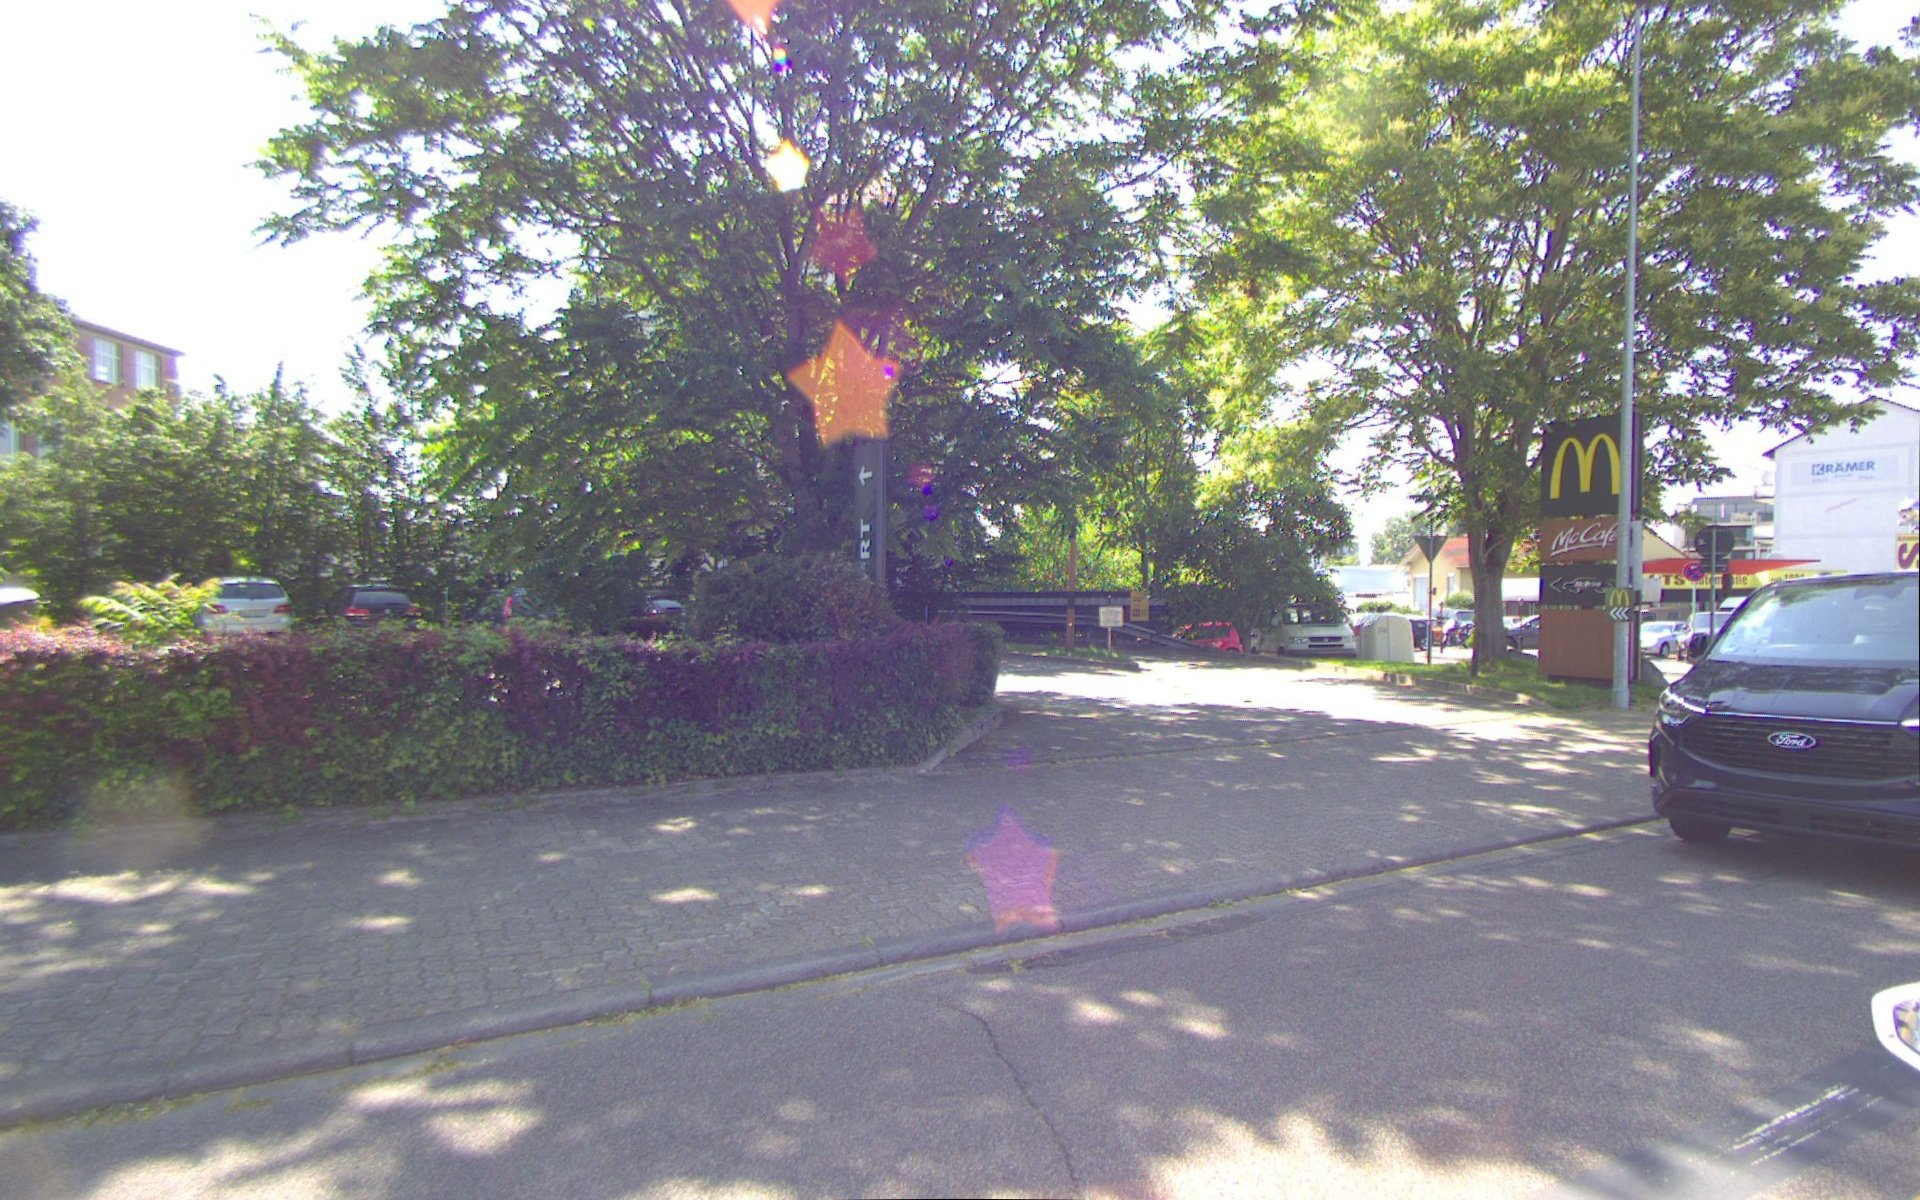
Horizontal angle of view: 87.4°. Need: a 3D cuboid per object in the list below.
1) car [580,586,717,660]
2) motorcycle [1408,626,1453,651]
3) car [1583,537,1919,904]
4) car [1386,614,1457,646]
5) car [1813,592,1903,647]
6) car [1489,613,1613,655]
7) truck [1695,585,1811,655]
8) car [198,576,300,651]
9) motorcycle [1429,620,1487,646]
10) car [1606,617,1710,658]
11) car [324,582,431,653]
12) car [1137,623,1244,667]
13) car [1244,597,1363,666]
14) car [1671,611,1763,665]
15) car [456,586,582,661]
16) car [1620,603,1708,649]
[{"bbox_3d":[-7.467,0.476,23.876,1.649,1.490,3.855,-1,3,-42],"label":"car"},{"bbox_3d":[23.456,1.902,50.108,1.837,1.174,0.790,2,0,6],"label":"motorcycle"},{"bbox_3d":[7.175,0.744,7.467,5.383,1.994,2.165,2,-2,-32],"label":"car"},{"bbox_3d":[25.860,1.660,56.431,1.962,1.606,3.997,2,0,-4],"label":"car"},{"bbox_3d":[40.100,0.869,44.814,4.667,2.315,2.120,1,0,-37],"label":"car"},{"bbox_3d":[25.771,1.457,43.968,4.248,1.606,2.000,2,0,17],"label":"car"},{"bbox_3d":[35.709,0.895,45.181,5.878,2.943,2.256,1,1,-33],"label":"truck"},{"bbox_3d":[-17.147,0.267,24.170,1.759,1.593,3.954,0,2,-39],"label":"car"},{"bbox_3d":[26.021,1.737,52.509,2.672,1.243,0.996,2,0,-14],"label":"motorcycle"},{"bbox_3d":[28.241,1.519,40.632,3.949,1.507,1.781,2,0,-27],"label":"car"},{"bbox_3d":[-14.192,0.351,24.386,1.758,1.490,3.956,-1,3,-38],"label":"car"},{"bbox_3d":[8.033,1.554,35.189,3.350,1.397,1.485,0,2,-5],"label":"car"},{"bbox_3d":[9.330,0.782,27.733,1.918,1.604,5.033,2,1,5],"label":"car"},{"bbox_3d":[25.122,1.212,33.482,2.017,1.616,4.413,2,0,32],"label":"car"},{"bbox_3d":[-10.281,0.471,23.277,1.690,1.473,3.953,-1,2,-40],"label":"car"},{"bbox_3d":[33.374,1.252,47.574,4.451,2.040,1.980,2,0,-35],"label":"car"}]
